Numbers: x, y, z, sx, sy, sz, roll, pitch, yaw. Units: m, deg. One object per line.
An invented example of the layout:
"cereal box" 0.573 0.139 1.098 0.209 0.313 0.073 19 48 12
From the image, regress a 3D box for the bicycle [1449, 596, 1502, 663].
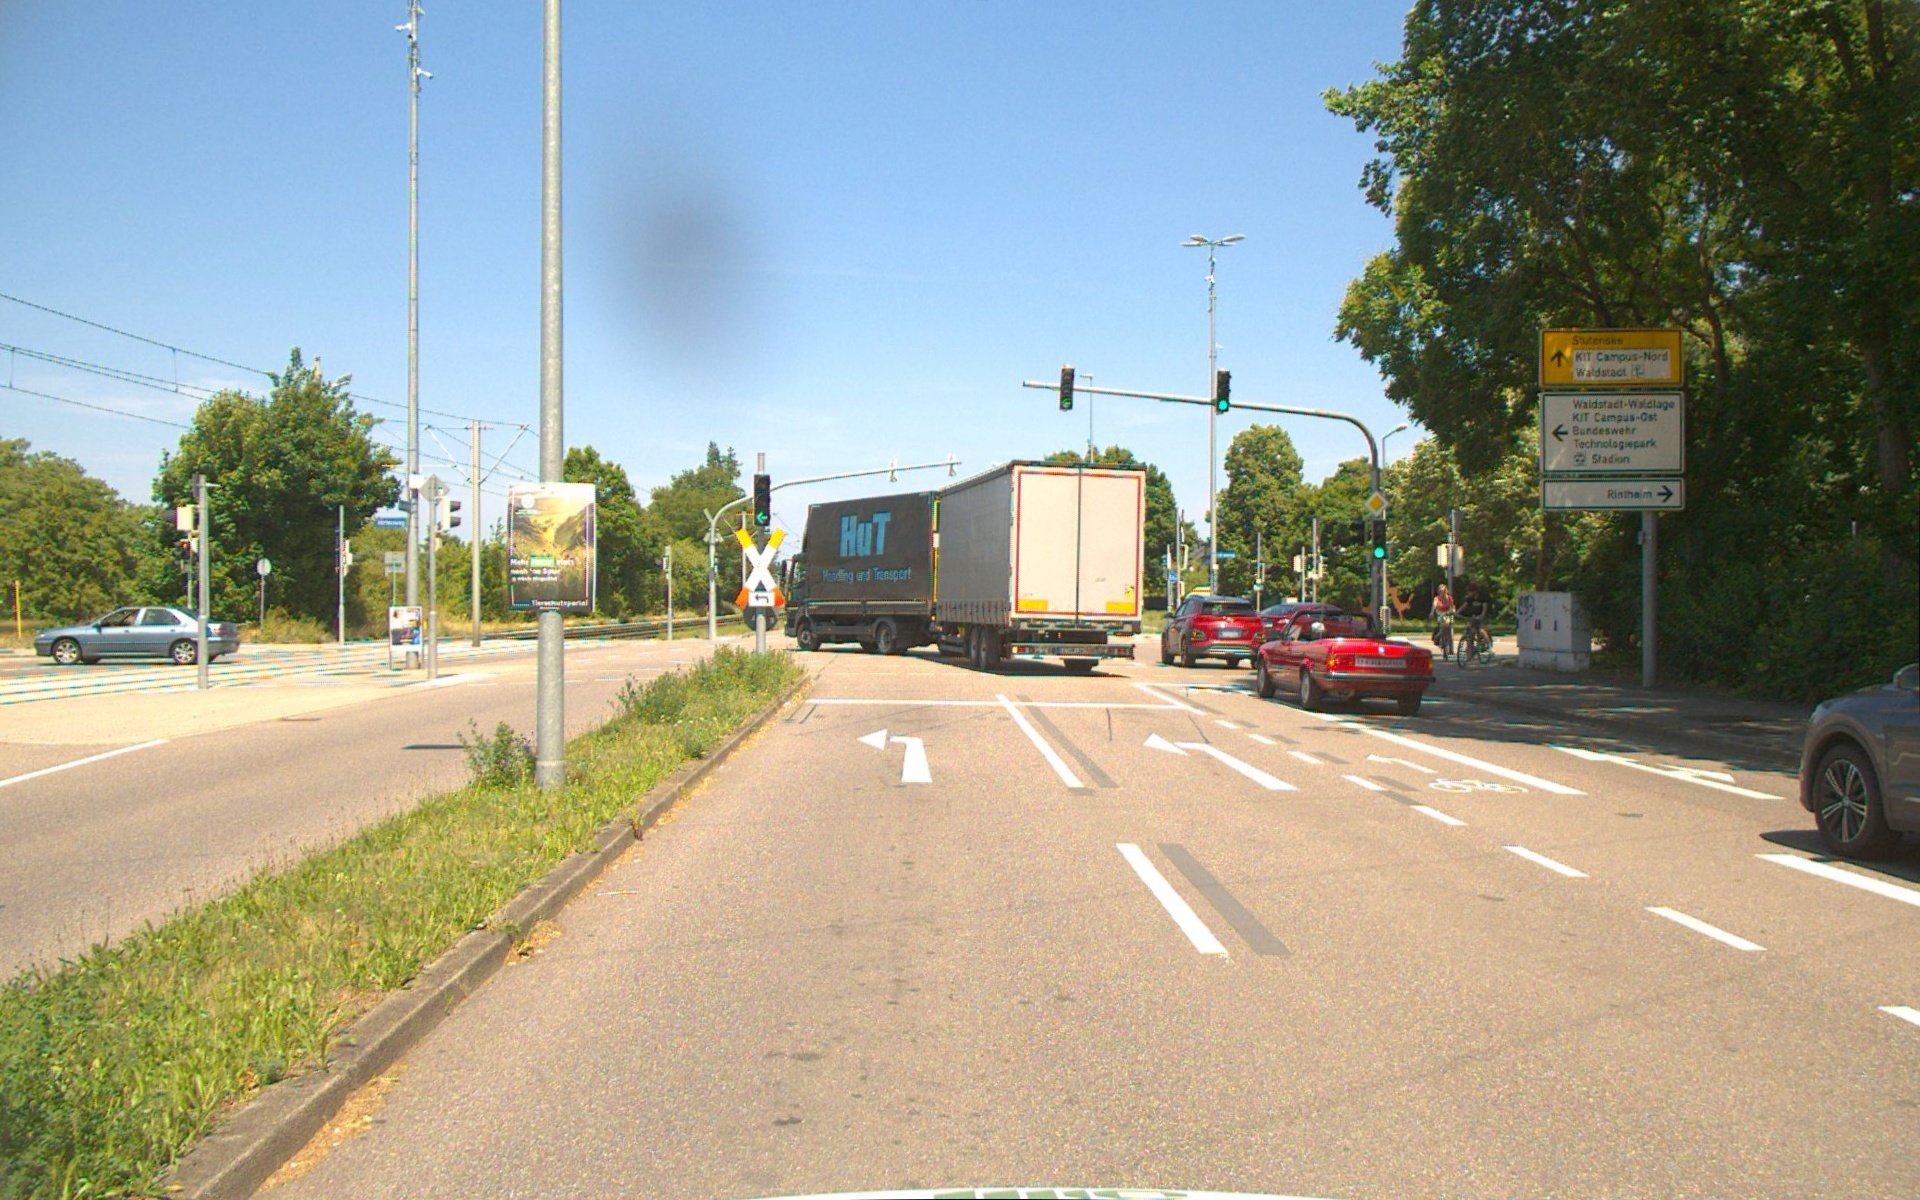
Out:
"bicycle" 10.641 0.601 34.144 0.711 1.318 1.301 -3 -1 31

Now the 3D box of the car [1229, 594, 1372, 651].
"car" 10.002 0.620 48.434 4.468 1.529 1.968 -1 1 -44

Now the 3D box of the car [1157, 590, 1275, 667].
"car" 5.655 0.593 36.977 1.821 1.576 3.885 1 0 -3

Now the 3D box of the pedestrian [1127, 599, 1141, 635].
"pedestrian" 10.095 1.003 95.983 0.727 2.049 0.613 1 0 -1

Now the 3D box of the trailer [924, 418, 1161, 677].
"trailer" 1.395 -0.947 33.574 2.776 4.499 8.727 1 0 -11

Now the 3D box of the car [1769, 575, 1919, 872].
"car" 6.308 0.721 8.784 1.665 1.683 4.396 1 0 -3

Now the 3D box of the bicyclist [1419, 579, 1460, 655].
"bicyclist" 11.319 0.399 39.037 0.785 1.757 0.679 -2 -1 9

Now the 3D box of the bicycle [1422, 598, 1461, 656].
"bicycle" 11.283 0.619 38.786 0.630 1.327 1.627 -2 0 9

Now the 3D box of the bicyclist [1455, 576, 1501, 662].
"bicyclist" 10.766 0.390 34.353 0.711 1.733 0.677 -3 -1 31

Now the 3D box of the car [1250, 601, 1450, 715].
"car" 5.435 0.758 23.587 1.622 1.421 4.264 1 0 -3

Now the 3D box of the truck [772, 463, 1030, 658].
"truck" -1.705 -0.942 41.779 2.799 4.420 8.195 1 0 -31

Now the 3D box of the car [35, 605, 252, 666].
"car" -19.793 0.858 40.240 4.330 1.395 1.896 0 1 -6
